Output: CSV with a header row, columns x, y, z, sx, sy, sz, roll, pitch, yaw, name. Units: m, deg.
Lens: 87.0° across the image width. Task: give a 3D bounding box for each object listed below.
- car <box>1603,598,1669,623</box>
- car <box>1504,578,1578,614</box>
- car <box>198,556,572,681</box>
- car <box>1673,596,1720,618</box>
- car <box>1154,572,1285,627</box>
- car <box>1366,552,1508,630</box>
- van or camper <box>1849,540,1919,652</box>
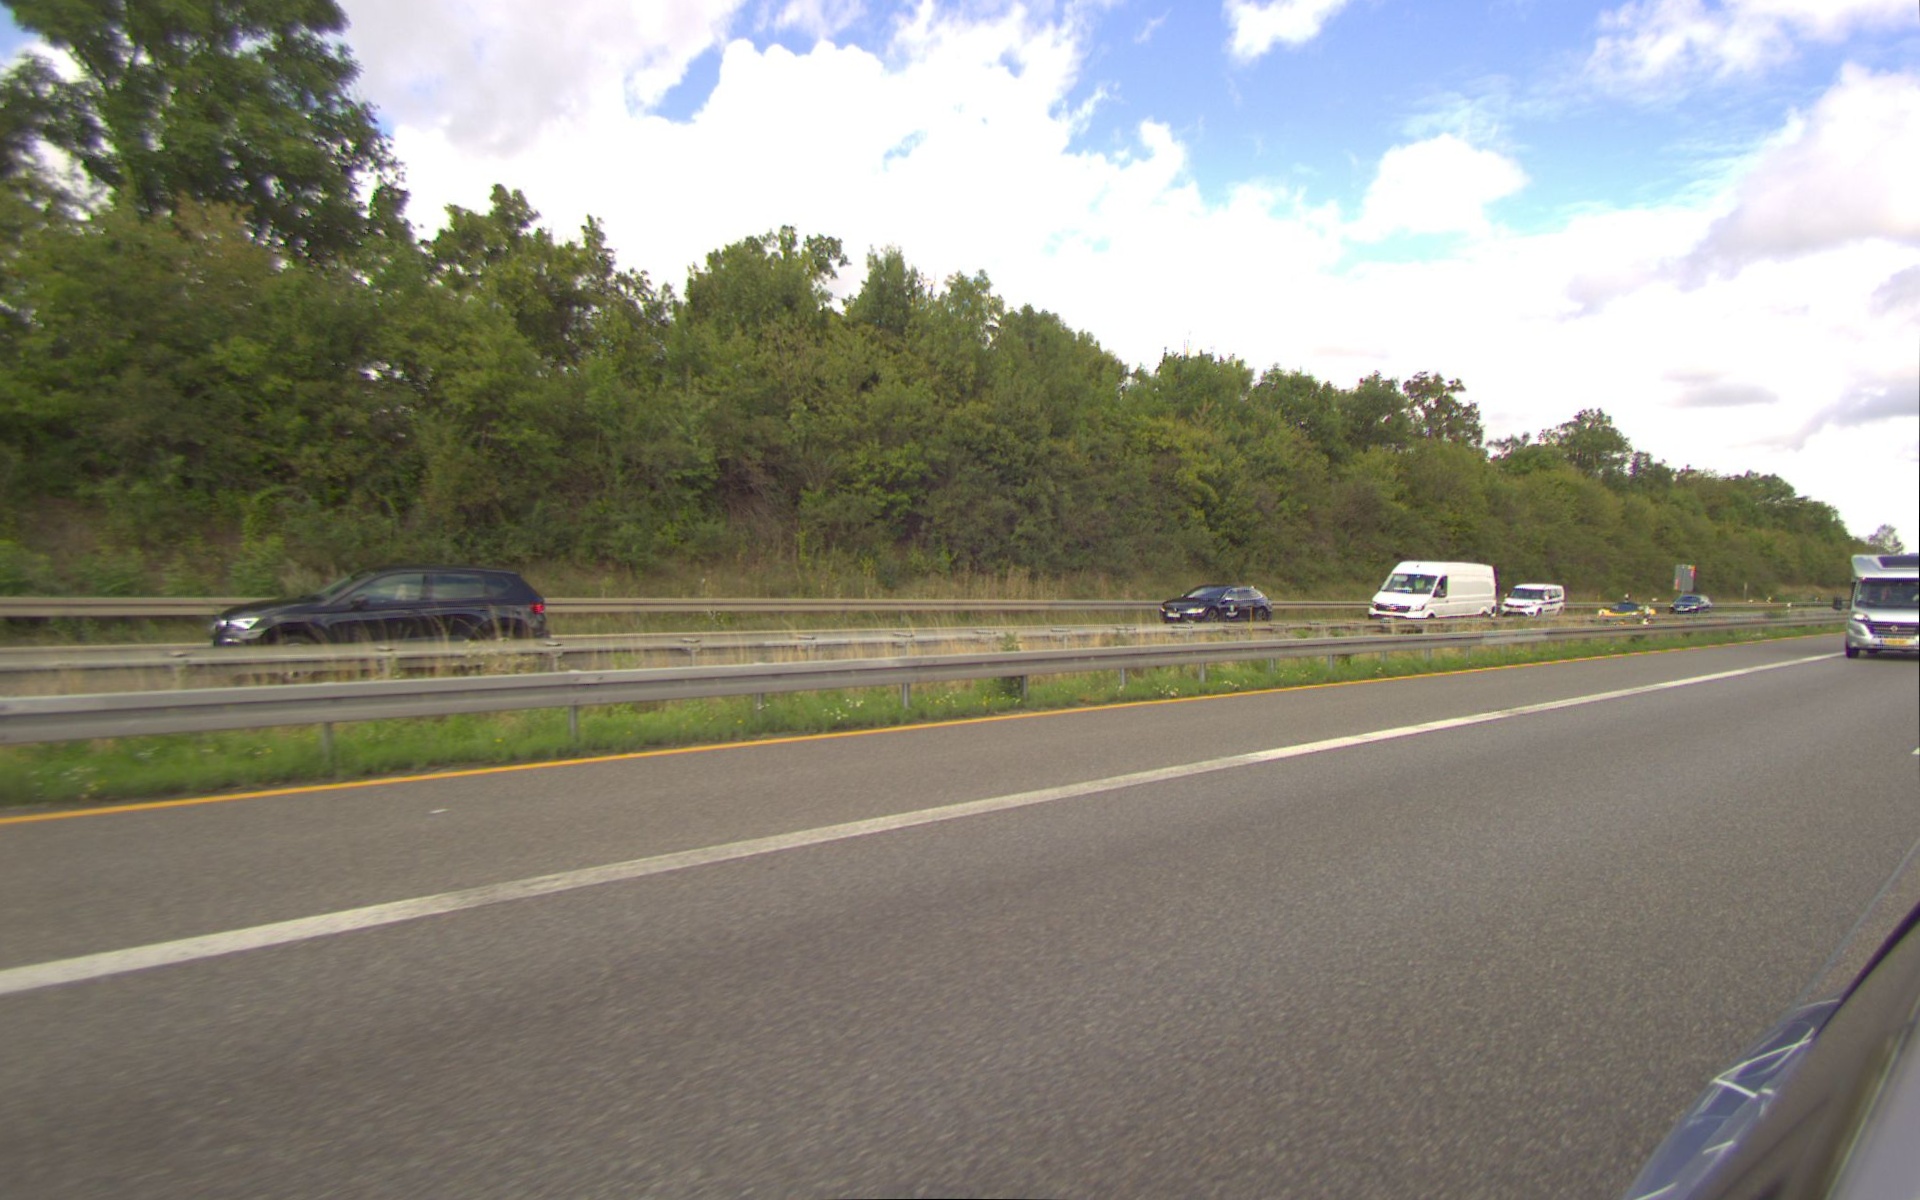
x,y,z,sx,sy,sz,roll,pitch,yaw,name
33.597,0.499,50.293,4.096,1.196,1.715,0,0,-41,car
30.042,-0.203,52.310,4.680,1.774,1.847,0,0,-40,car
-8.211,0.203,14.687,4.446,1.502,1.847,0,3,-41,car
51.504,0.475,70.736,4.095,1.433,1.715,0,1,-40,car
8.664,-0.019,33.591,4.681,1.622,1.847,0,3,-41,car
17.333,-0.310,36.577,6.624,2.586,2.074,0,1,-41,car
26.372,-0.099,27.412,7.527,2.756,2.473,0,0,-41,van or camper
